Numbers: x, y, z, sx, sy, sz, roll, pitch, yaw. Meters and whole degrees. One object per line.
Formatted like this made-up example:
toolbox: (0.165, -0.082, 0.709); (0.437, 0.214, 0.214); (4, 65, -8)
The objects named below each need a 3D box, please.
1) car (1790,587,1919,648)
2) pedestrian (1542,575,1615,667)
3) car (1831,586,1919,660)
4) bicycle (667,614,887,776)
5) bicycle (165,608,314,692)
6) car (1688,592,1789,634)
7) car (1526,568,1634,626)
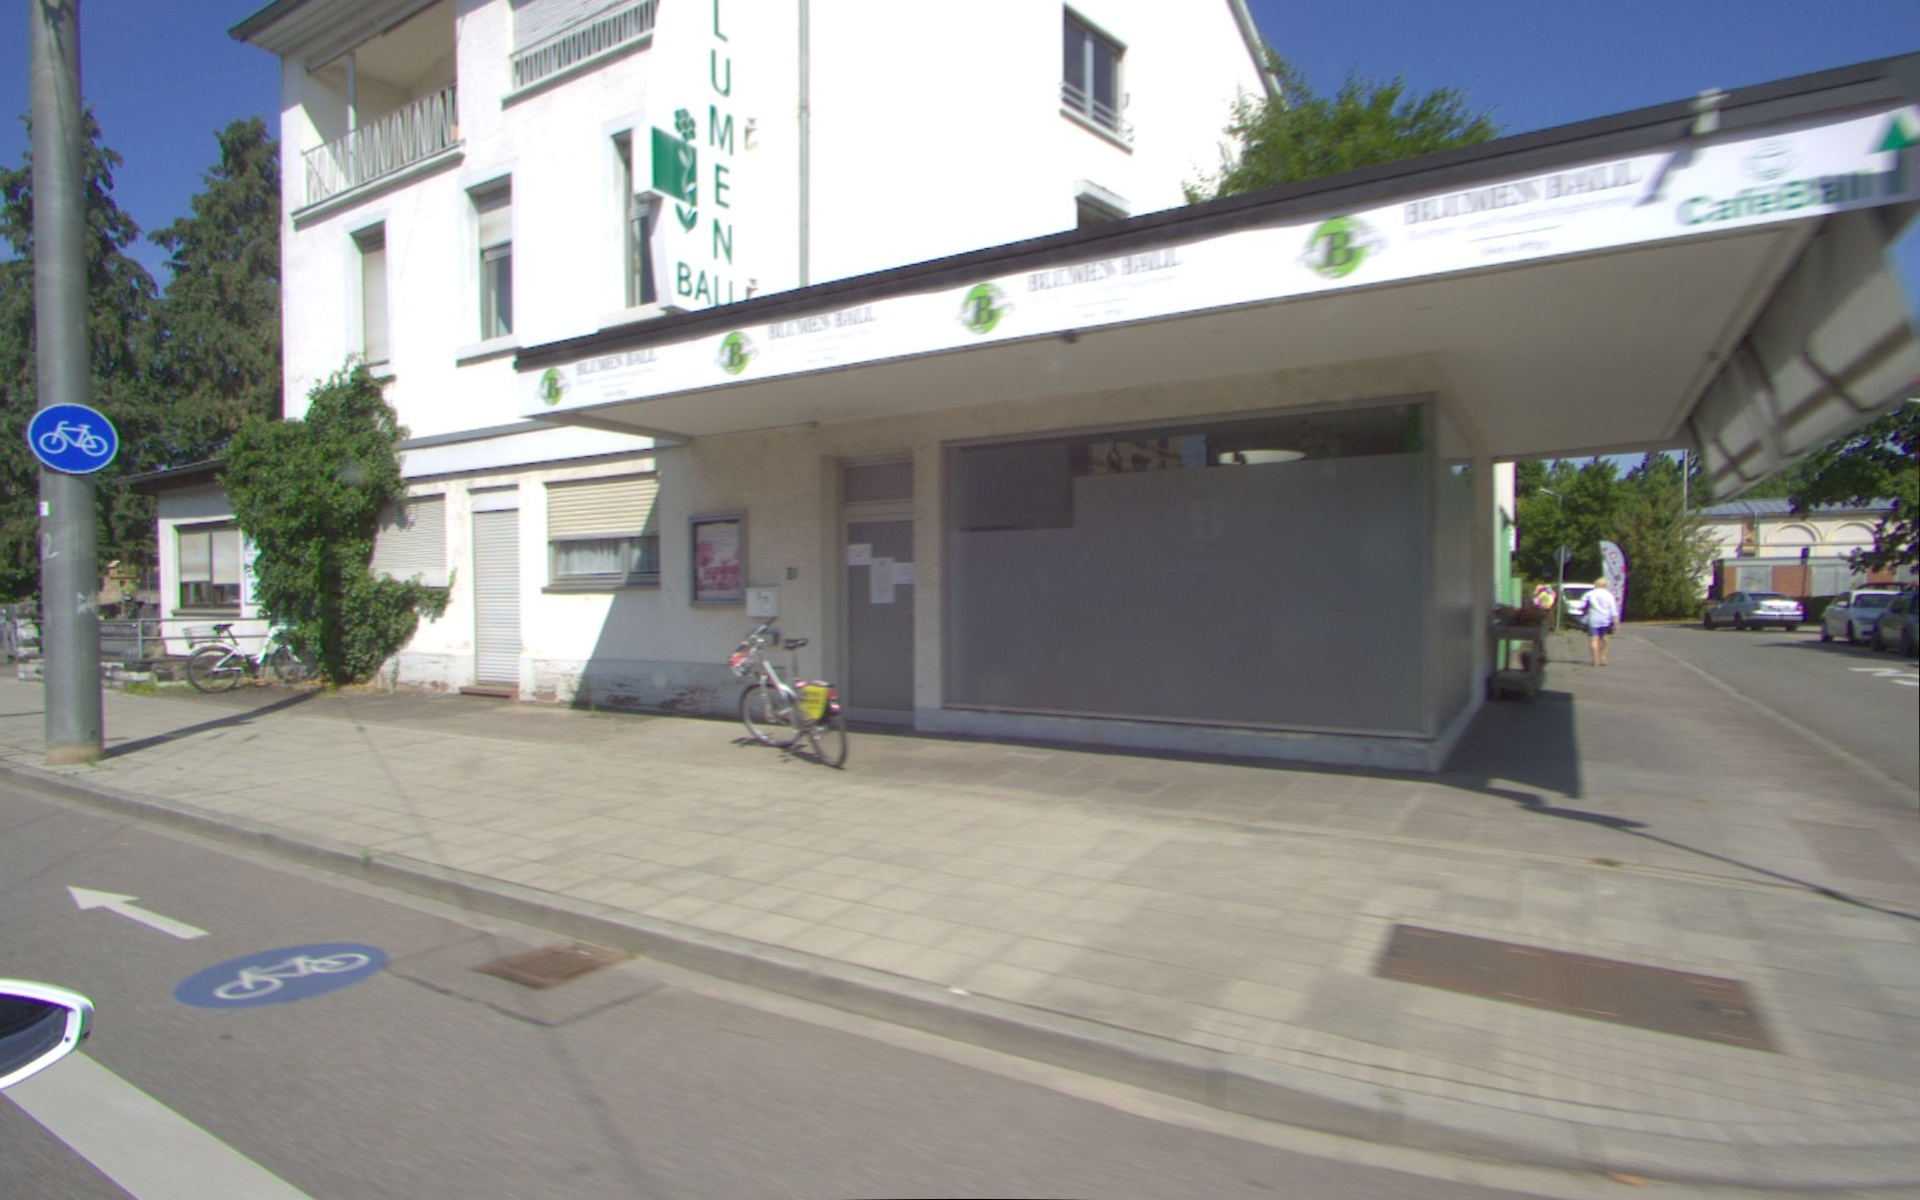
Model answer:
car: (23.140, 0.395, 26.026); (1.713, 1.471, 4.050); (0, 1, 30)
pedestrian: (11.531, 0.370, 18.700); (1.017, 1.672, 0.959); (1, 2, 25)
car: (20.425, 0.439, 21.561); (1.713, 1.471, 4.050); (0, 1, 30)
bicycle: (-1.597, 0.721, 8.455); (2.172, 1.155, 0.721); (1, 1, 45)
bicycle: (-10.644, 0.706, 14.847); (0.518, 1.145, 1.707); (1, 1, 33)
car: (28.411, 0.425, 36.678); (1.708, 1.430, 4.060); (0, 1, 20)
car: (23.052, -0.127, 37.434); (1.962, 2.041, 3.997); (0, 1, 8)
